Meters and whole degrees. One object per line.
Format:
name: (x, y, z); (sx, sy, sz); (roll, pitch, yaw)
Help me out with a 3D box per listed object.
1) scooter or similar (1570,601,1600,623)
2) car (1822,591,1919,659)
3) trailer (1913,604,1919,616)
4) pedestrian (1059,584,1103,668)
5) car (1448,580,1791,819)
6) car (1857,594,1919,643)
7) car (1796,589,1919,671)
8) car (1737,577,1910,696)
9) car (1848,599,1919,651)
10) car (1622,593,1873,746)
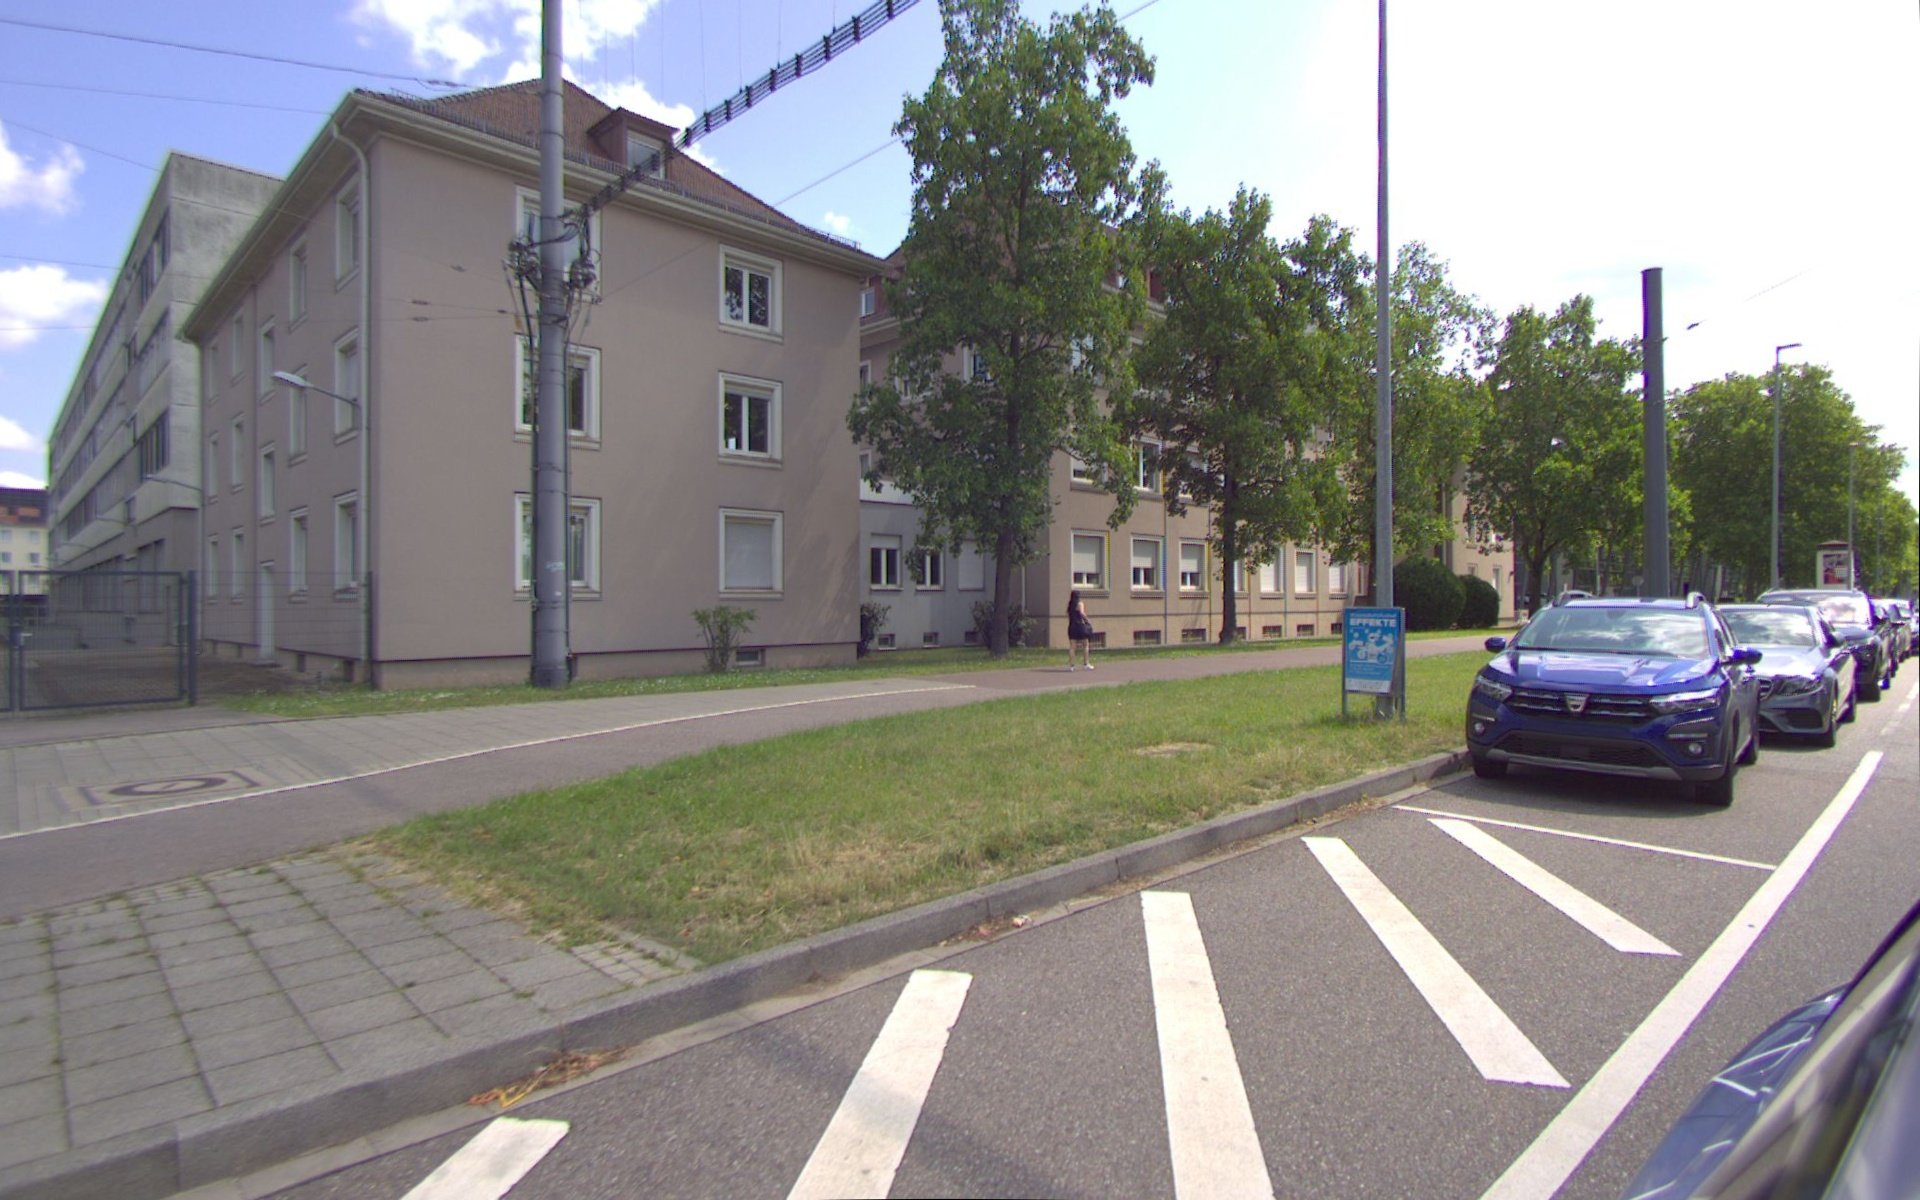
scooter or similar: (37.744, 0.730, 61.172); (0.536, 1.320, 1.446); (-1, 0, -29)
car: (22.801, 0.564, 25.165); (3.786, 1.534, 1.671); (-1, 1, -43)
trailer: (72.335, 0.713, 74.929); (6.708, 0.838, 2.298); (0, 0, -45)
pedestrian: (2.393, 0.491, 20.020); (0.612, 1.628, 0.624); (0, 1, -33)
car: (5.913, 0.626, 8.825); (1.779, 1.560, 4.351); (1, 1, 43)
car: (30.441, 0.550, 32.812); (3.726, 1.498, 1.709); (-1, 1, -44)
car: (18.884, 0.542, 21.179); (4.368, 1.549, 1.646); (-1, 1, -44)
car: (14.241, 0.509, 16.597); (1.817, 1.683, 4.595); (1, 0, 45)
car: (26.288, 0.645, 28.371); (1.825, 1.328, 4.370); (0, 0, 45)
car: (9.620, 0.668, 12.183); (1.817, 1.472, 4.909); (1, 0, 45)
